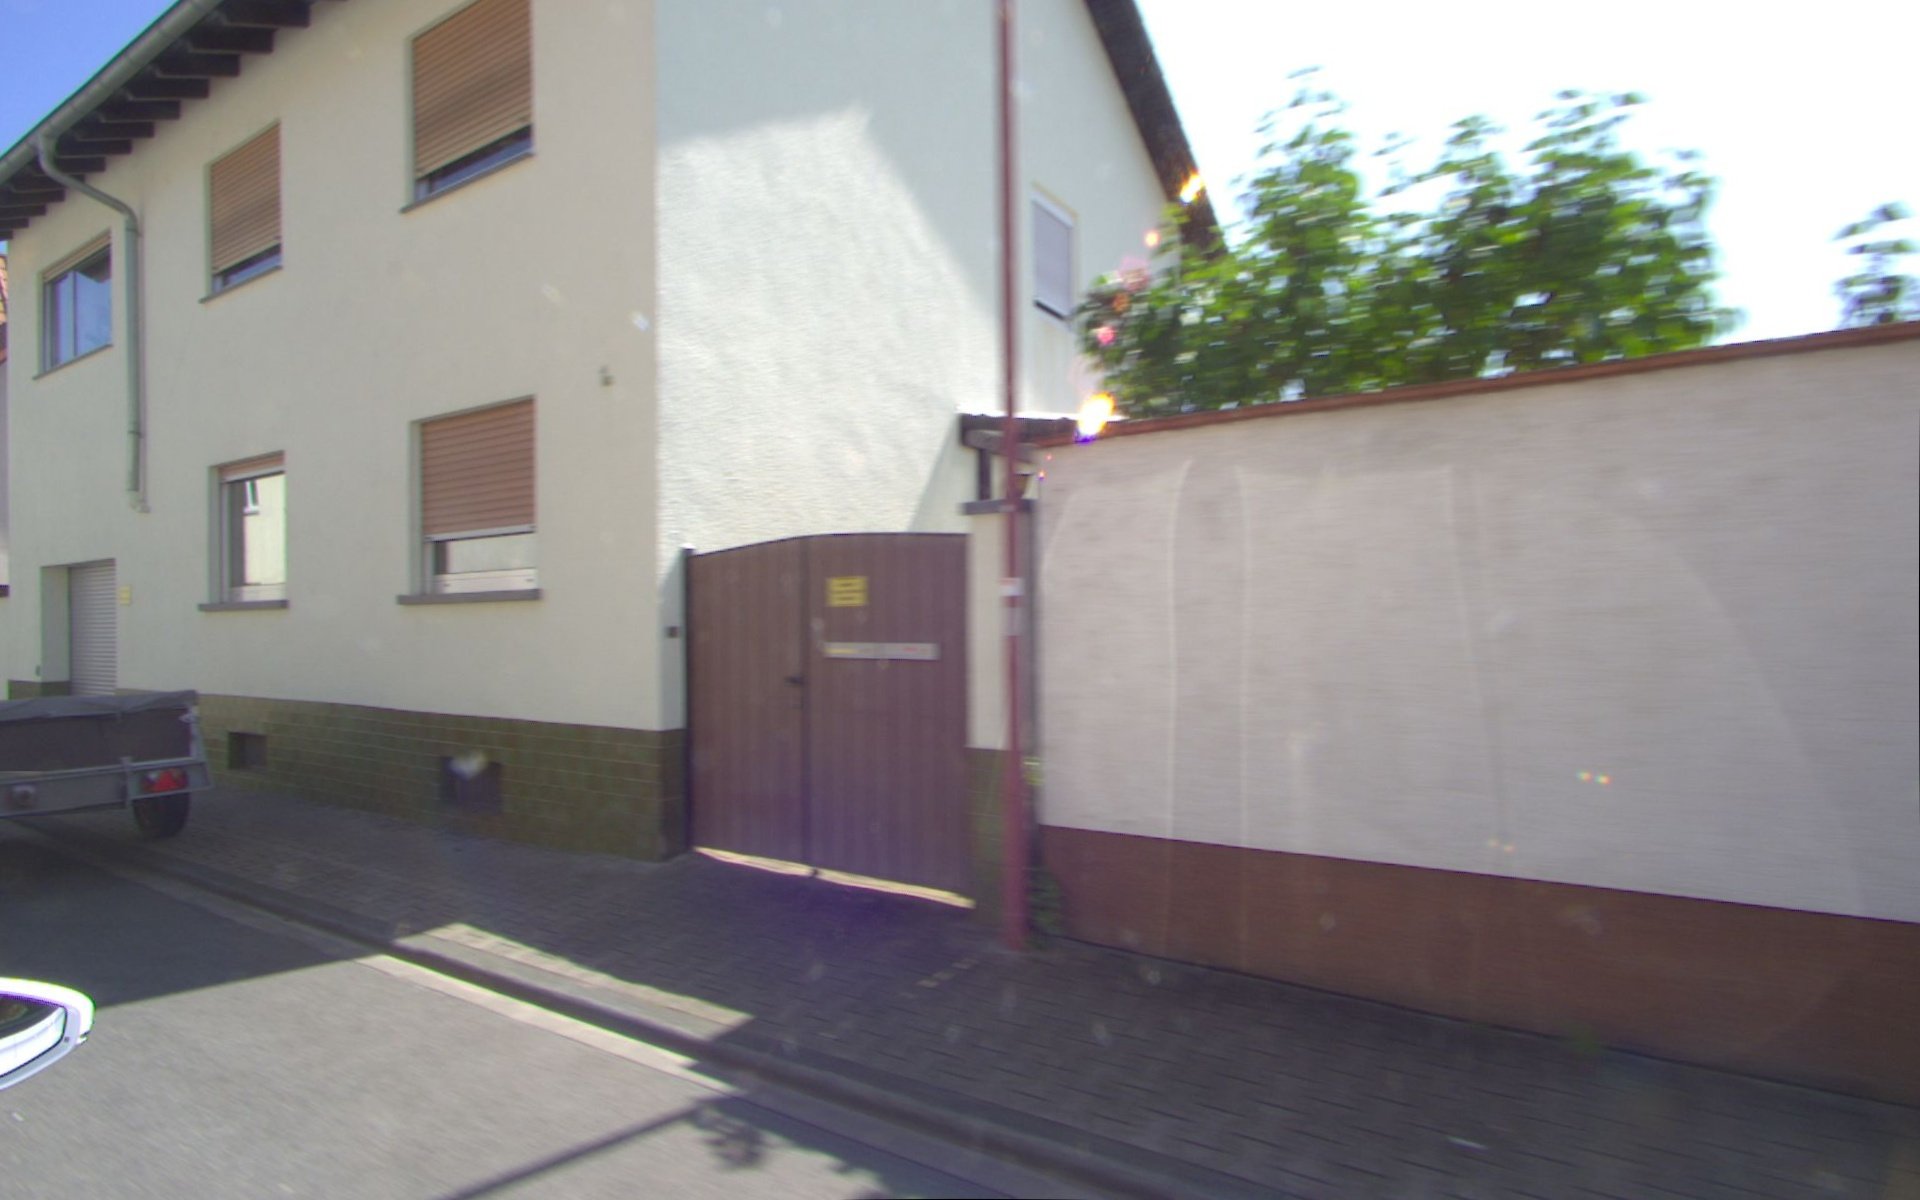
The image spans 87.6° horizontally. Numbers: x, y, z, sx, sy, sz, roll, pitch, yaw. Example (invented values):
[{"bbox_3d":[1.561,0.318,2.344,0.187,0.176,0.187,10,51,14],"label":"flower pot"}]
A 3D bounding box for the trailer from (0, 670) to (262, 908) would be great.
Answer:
[{"bbox_3d":[-6.282,1.096,6.512,3.434,1.104,1.812,-1,-1,35],"label":"trailer"}]
